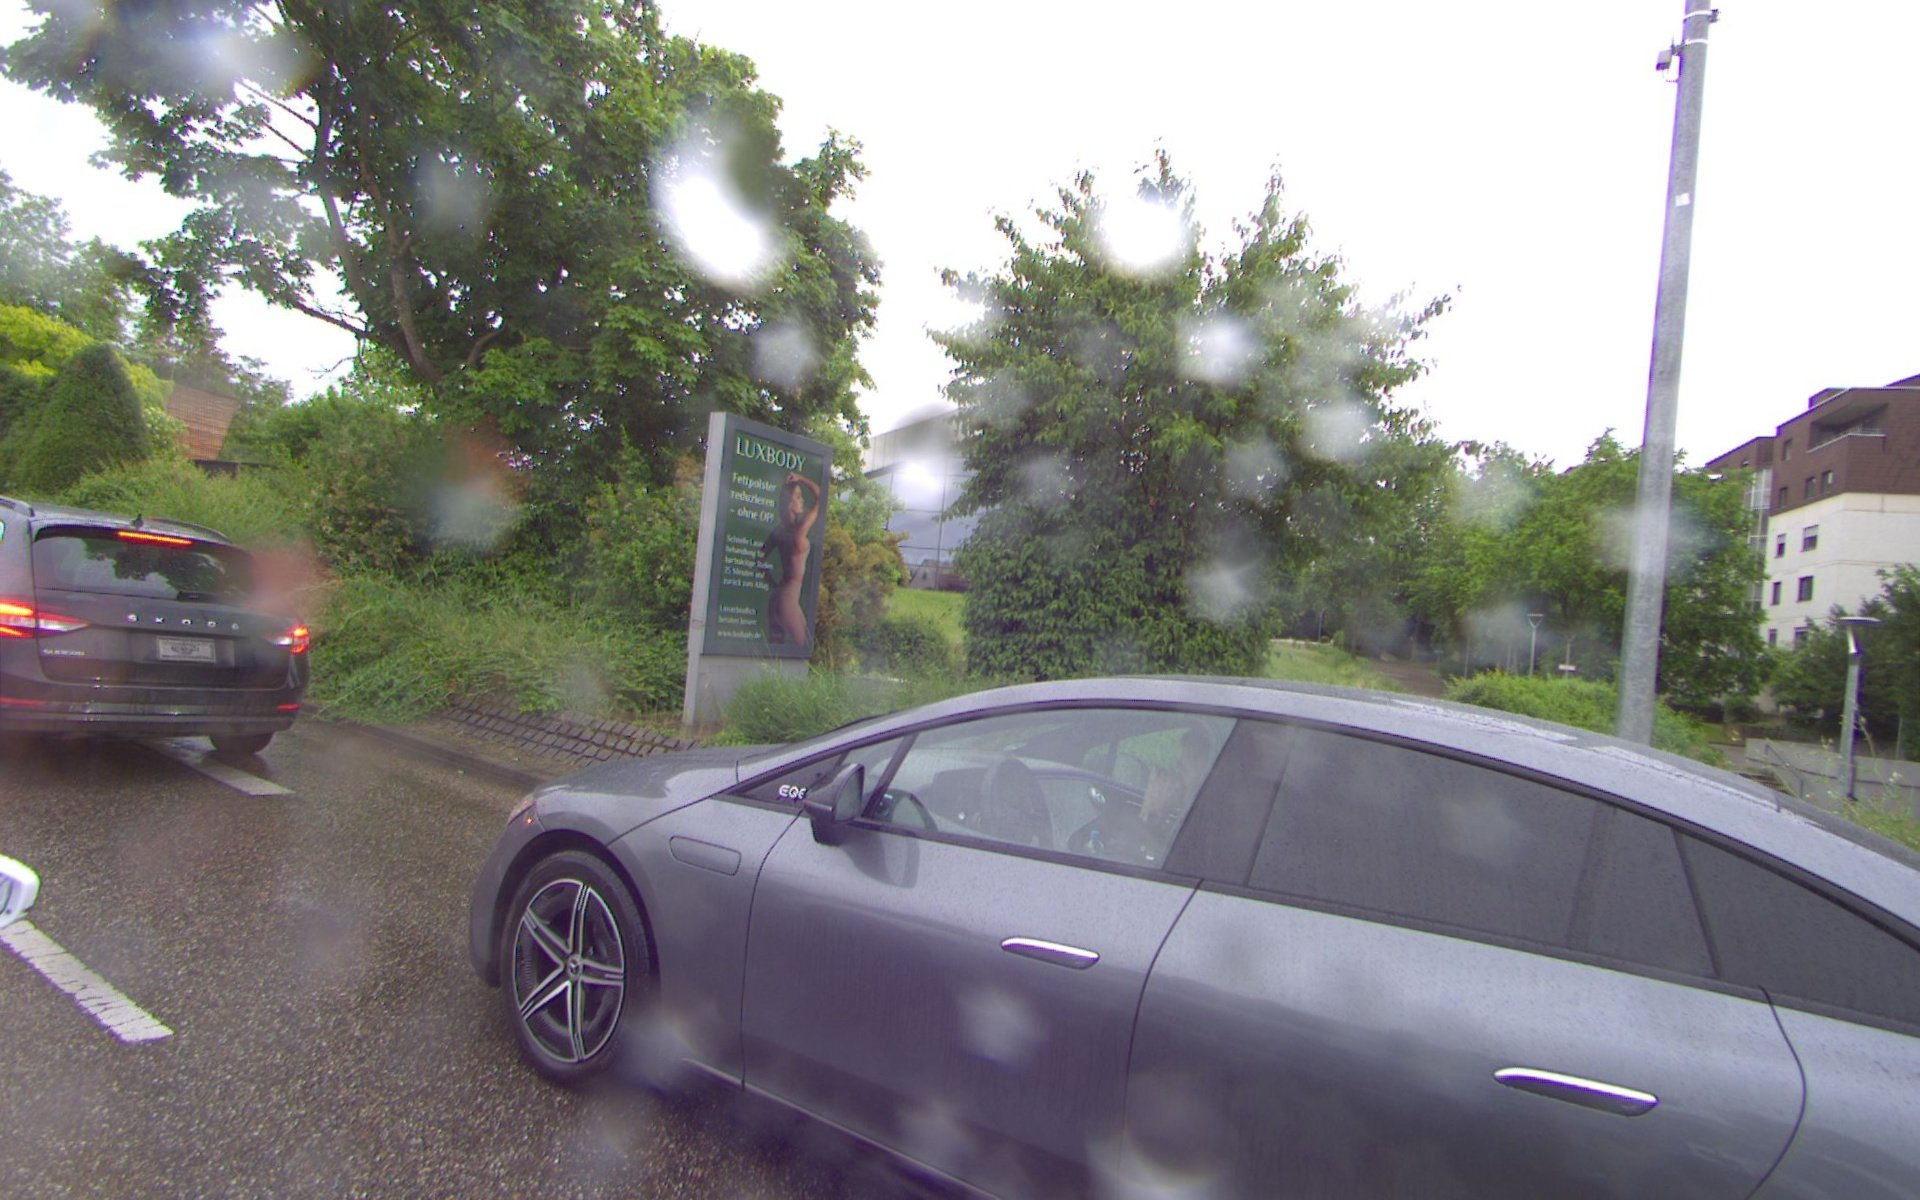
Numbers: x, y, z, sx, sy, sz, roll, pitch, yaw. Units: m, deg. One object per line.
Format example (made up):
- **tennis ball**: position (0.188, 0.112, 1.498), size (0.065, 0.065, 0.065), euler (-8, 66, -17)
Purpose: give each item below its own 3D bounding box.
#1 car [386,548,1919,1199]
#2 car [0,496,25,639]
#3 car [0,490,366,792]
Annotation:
- **car**: position (0.646, 0.912, 2.935), size (4.728, 1.483, 1.842), euler (7, -2, 31)
- **car**: position (-12.155, -0.638, 10.879), size (4.048, 1.483, 1.842), euler (7, -2, 31)
- **car**: position (-6.110, 0.072, 6.736), size (4.279, 1.483, 1.841), euler (7, -2, 33)
